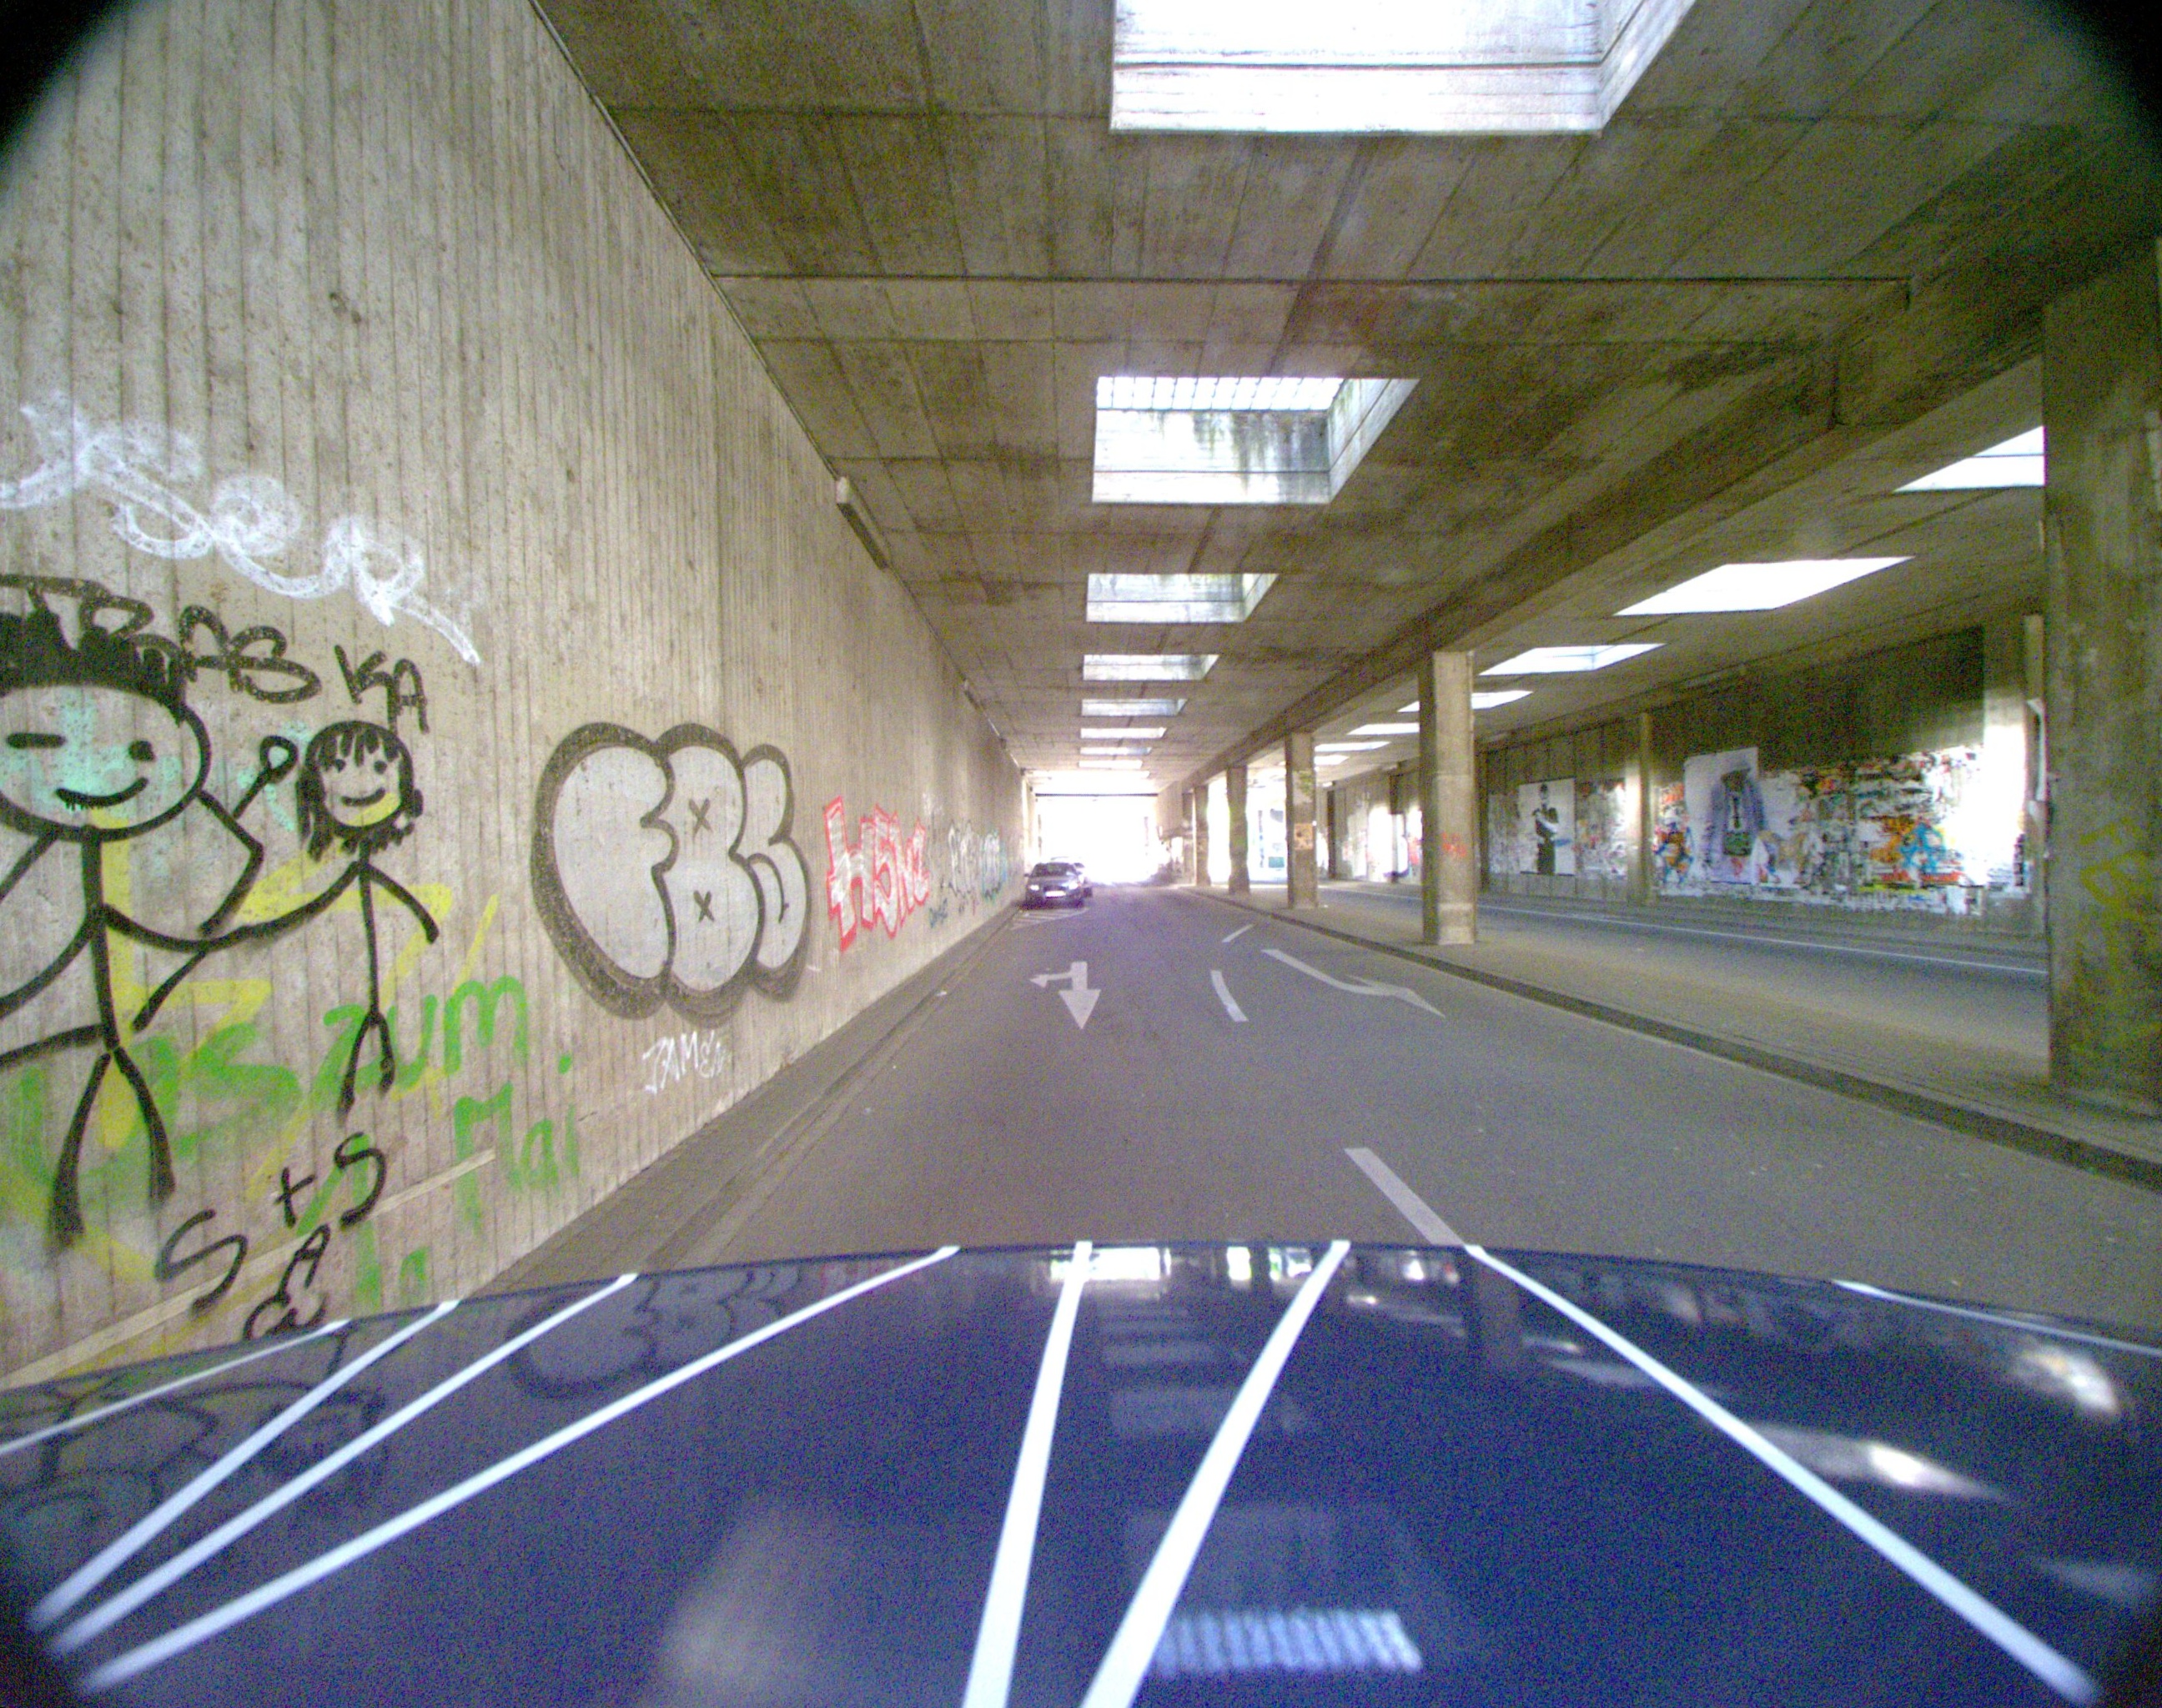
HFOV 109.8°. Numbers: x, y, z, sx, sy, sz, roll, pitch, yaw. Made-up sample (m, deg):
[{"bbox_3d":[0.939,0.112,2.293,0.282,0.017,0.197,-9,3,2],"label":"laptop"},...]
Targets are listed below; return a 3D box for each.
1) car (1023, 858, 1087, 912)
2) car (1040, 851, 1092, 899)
[{"bbox_3d":[-0.735,0.906,24.068,1.808,1.460,4.000,-2,0,1],"label":"car"},{"bbox_3d":[-0.531,0.763,29.814,1.861,1.709,4.000,-2,0,1],"label":"car"}]
